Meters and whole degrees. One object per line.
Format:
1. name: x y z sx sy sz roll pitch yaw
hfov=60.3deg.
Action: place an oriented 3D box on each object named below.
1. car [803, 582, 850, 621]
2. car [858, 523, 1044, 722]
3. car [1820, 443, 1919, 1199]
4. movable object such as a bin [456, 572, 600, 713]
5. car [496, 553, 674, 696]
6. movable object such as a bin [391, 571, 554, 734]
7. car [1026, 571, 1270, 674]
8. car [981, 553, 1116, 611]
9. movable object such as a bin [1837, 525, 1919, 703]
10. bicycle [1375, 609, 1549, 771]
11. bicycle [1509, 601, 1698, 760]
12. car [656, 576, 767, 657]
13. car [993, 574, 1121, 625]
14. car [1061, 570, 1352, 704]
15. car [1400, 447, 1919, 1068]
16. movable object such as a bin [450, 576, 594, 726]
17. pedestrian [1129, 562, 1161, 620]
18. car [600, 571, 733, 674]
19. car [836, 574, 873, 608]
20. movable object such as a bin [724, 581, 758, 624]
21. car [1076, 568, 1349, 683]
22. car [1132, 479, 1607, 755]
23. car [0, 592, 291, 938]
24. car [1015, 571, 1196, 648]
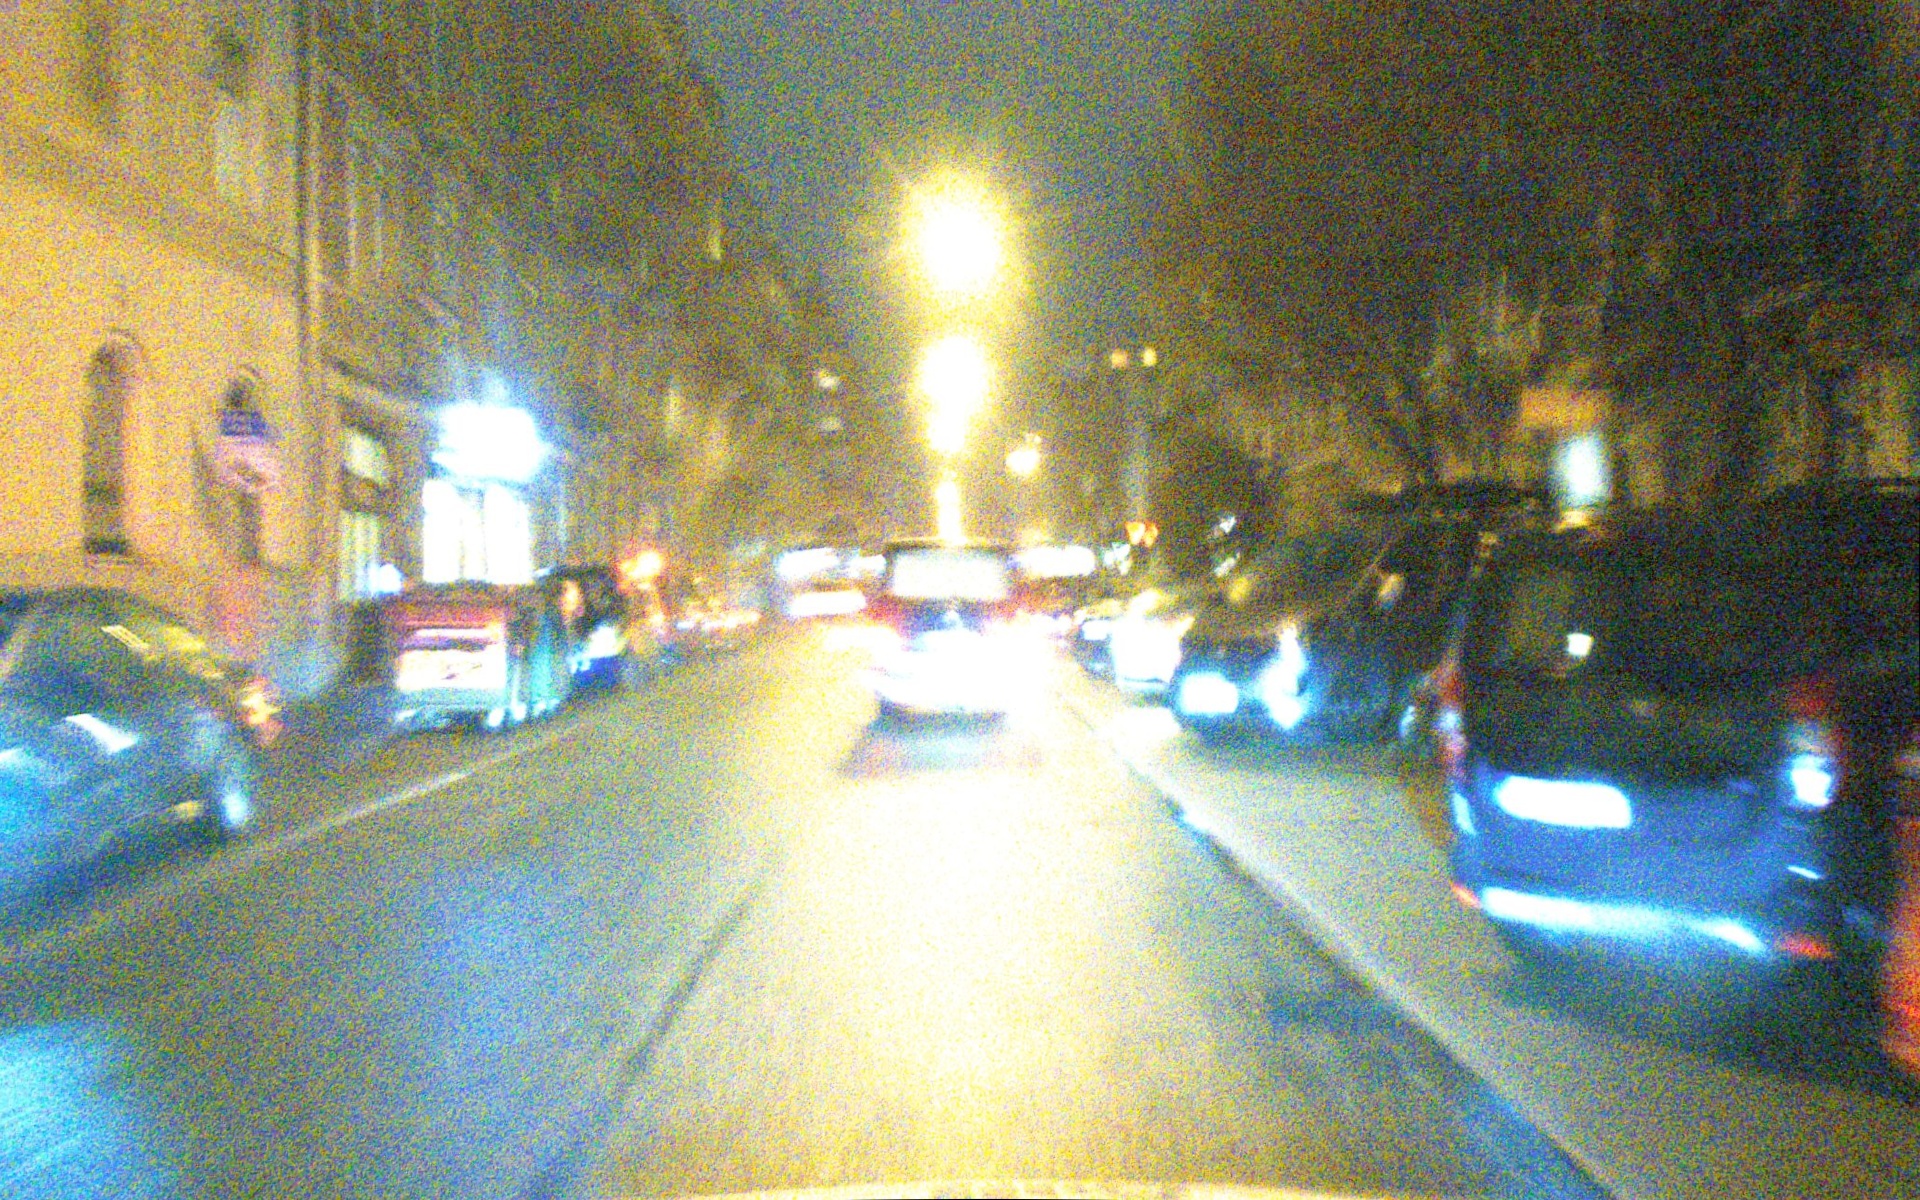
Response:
1. car: -5.313 0.047 66.242 1.554 1.508 3.793 1 1 0
2. car: -0.116 0.245 19.394 1.953 2.086 3.999 0 0 -1
3. car: 4.108 0.527 4.394 3.730 1.758 1.696 0 1 -35
4. movable object such as a bin: -4.782 0.454 18.401 1.236 1.485 1.151 1 0 1
5. car: -4.876 0.283 21.951 1.571 1.736 3.720 0 0 -1
6. movable object such as a bin: -4.667 0.486 15.919 1.183 1.485 1.107 1 0 1
7. car: 3.229 0.345 28.104 3.956 1.579 1.782 -2 0 -36
8. car: 3.297 -0.674 61.212 4.737 2.084 2.045 -1 1 -32
9. movable object such as a bin: 8.564 0.079 14.436 1.185 1.476 0.998 -5 0 -1
10. bicycle: 4.037 0.685 13.446 0.573 1.192 1.860 0 1 -10
11. bicycle: 5.268 0.620 13.672 0.573 1.192 1.860 0 1 -10
12. car: -4.935 0.278 33.327 1.652 1.481 4.315 1 1 -1
13. car: 3.249 -0.028 55.431 3.938 1.518 1.720 -3 0 -26
14. car: 3.253 0.440 21.660 3.604 1.569 1.544 -2 0 -31
15. car: 3.912 0.408 6.983 4.202 1.891 1.694 -3 0 -37
16. movable object such as a bin: -4.521 0.508 17.169 1.141 1.485 1.107 1 0 1
17. pedestrian: 6.167 -0.313 55.274 0.851 1.888 0.992 -2 1 -3
18. car: -4.848 0.314 27.786 1.571 1.579 4.025 1 1 -1
19. car: -5.230 -0.454 81.992 1.777 1.584 4.073 1 1 -4
20. movable object such as a bin: -7.462 0.078 56.389 0.954 1.423 1.133 2 0 2
21. car: 3.899 0.342 25.304 3.960 1.579 1.972 -2 0 -39
22. car: 4.024 0.096 15.880 4.676 2.287 1.921 -2 0 -37
23. car: -4.717 0.669 7.603 1.620 1.383 4.221 0 1 -1
24. car: 3.111 0.183 35.031 3.641 1.486 1.585 -2 1 -35
